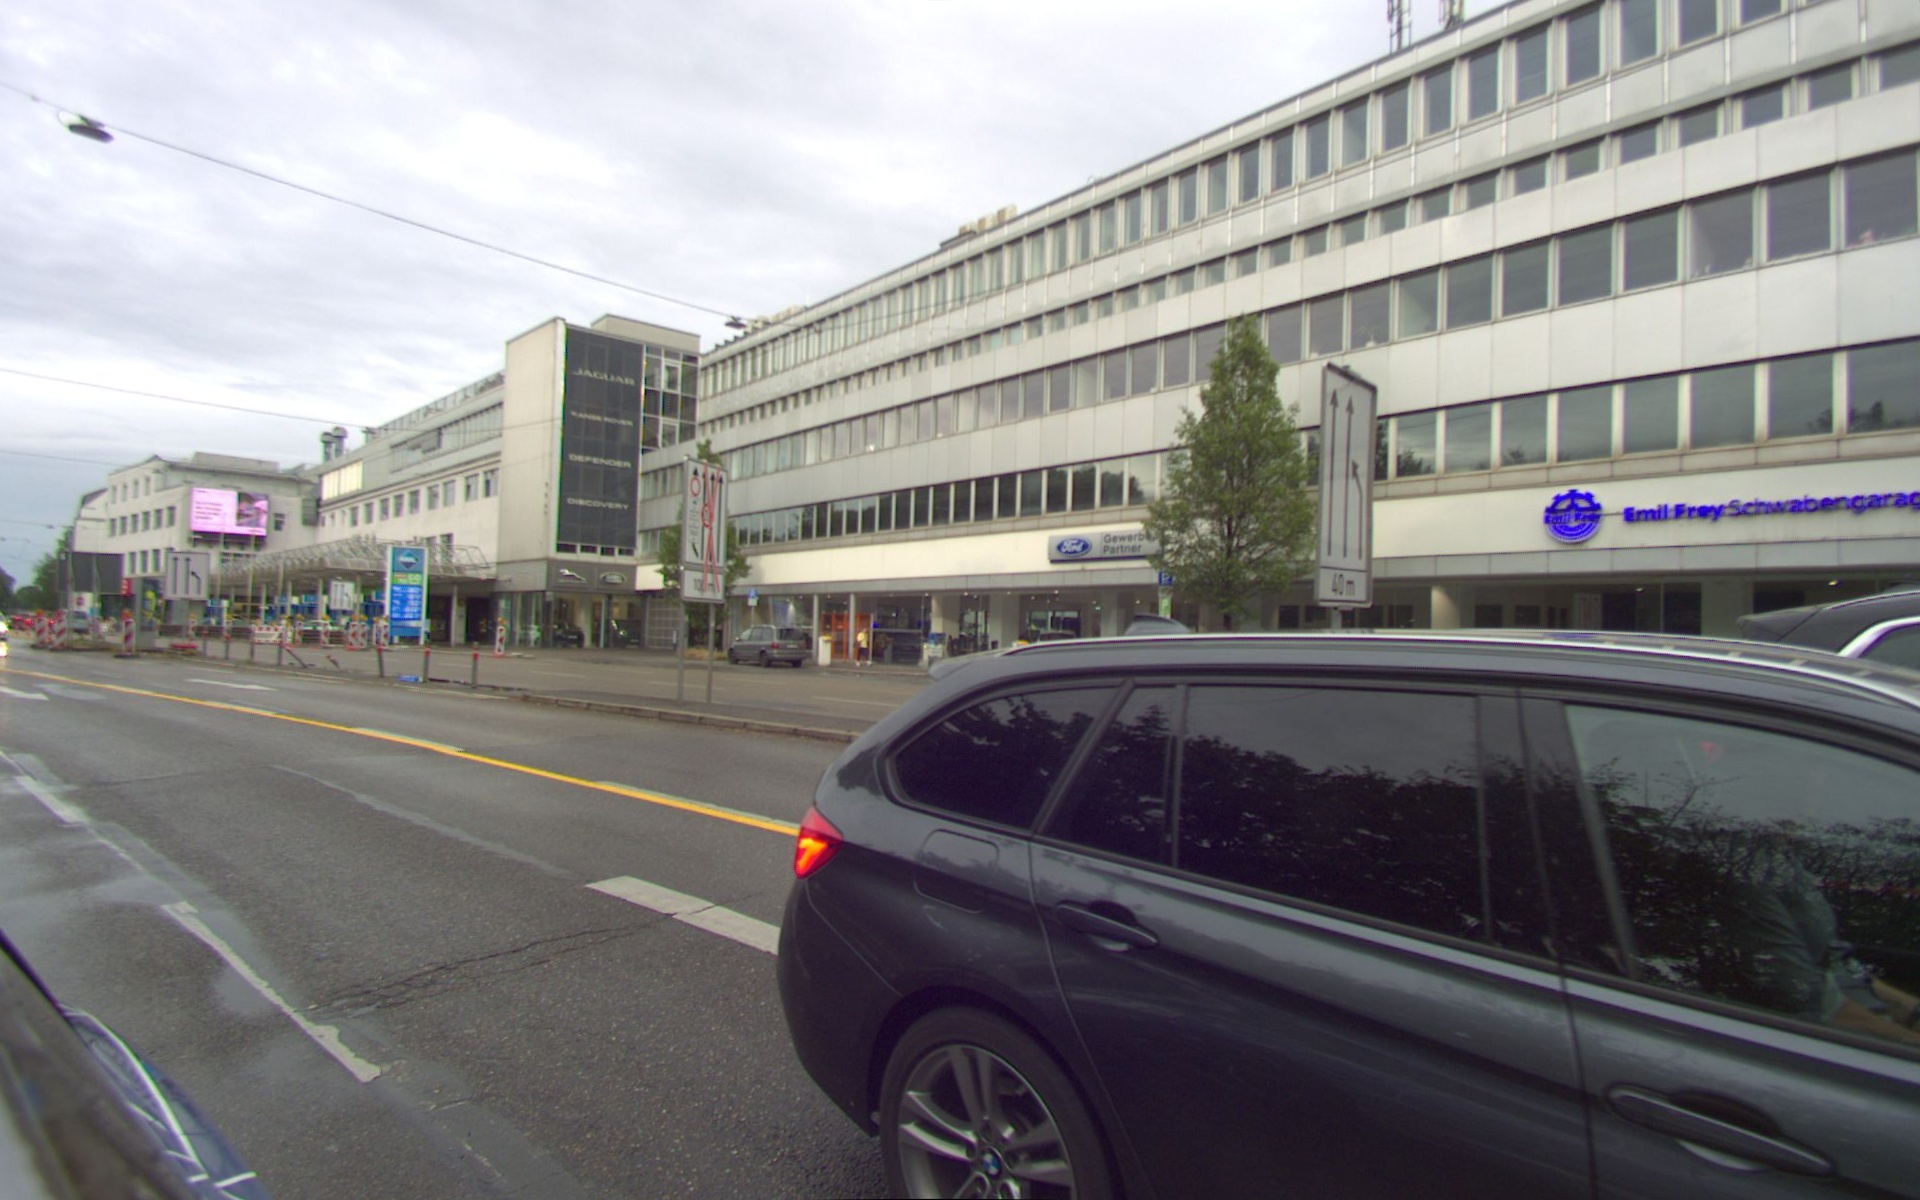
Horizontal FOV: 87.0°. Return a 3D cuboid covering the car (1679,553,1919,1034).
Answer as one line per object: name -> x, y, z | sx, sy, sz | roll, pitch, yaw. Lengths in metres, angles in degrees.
car -> 5.082, 0.627, 2.883 | 1.925, 1.610, 4.672 | 3, -3, -45

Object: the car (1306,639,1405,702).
car -> 11.134, 1.985, 28.729 | 1.980, 1.586, 3.984 | 1, -3, 12

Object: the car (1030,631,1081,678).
car -> 3.676, 2.119, 39.390 | 1.831, 1.664, 4.378 | 2, -3, 5

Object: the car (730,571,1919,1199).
car -> 1.560, 0.724, 1.819 | 4.177, 1.460, 1.741 | 2, 1, 42

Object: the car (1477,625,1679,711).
car -> 15.670, 1.712, 26.058 | 1.971, 1.912, 4.990 | 2, -3, -2

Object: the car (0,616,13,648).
car -> -47.714, 1.512, 49.465 | 3.998, 1.497, 1.628 | -1, -4, 41

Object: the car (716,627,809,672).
car -> -8.527, 2.101, 43.444 | 1.825, 1.792, 4.737 | 5, -4, -40

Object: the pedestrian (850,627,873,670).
pedestrian -> -4.109, 2.023, 42.301 | 0.709, 1.745, 0.539 | 4, -4, -36

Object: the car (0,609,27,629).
car -> -89.063, 1.790, 94.807 | 4.601, 1.751, 1.826 | 0, -3, 41

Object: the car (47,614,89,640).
car -> -65.470, 1.979, 74.252 | 4.299, 1.799, 1.715 | -1, -4, 41

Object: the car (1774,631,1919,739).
car -> 19.184, 1.708, 20.252 | 1.976, 2.027, 5.195 | 2, -3, 6

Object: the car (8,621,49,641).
car -> -76.730, 2.550, 83.362 | 4.369, 1.513, 1.811 | 0, -4, 40
